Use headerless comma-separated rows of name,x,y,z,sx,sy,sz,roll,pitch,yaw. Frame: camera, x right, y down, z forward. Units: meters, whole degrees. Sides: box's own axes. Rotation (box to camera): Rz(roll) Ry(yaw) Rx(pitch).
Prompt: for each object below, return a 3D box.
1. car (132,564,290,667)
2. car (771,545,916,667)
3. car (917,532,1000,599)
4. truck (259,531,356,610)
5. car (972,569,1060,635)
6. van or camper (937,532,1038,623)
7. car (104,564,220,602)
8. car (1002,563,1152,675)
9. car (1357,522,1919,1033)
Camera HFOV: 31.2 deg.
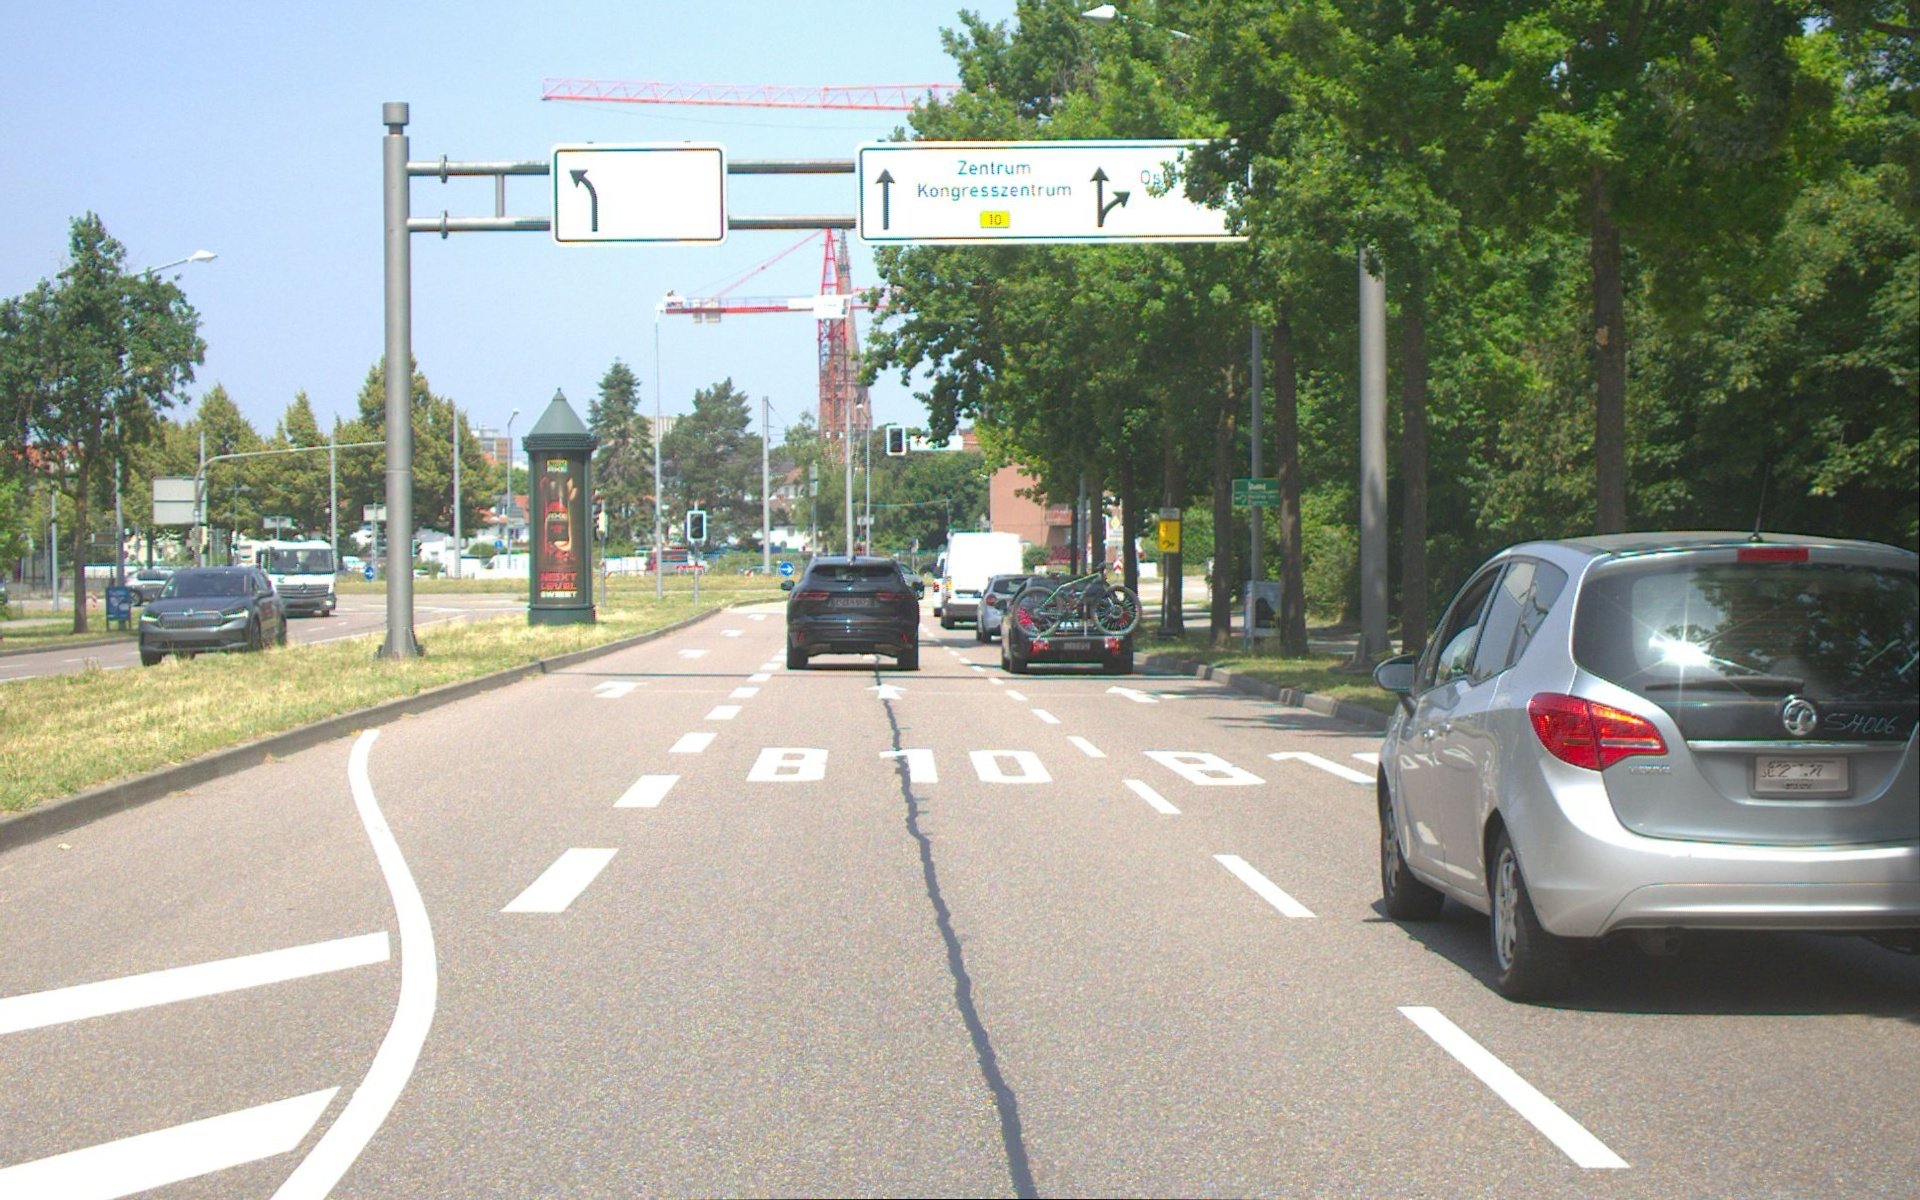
car,-12.428,0.231,57.286,1.892,1.605,4.535,0,1,-3
car,-1.684,0.052,50.821,1.998,1.683,4.034,1,1,0
car,-0.072,-1.072,105.583,1.993,2.007,4.001,-1,1,-8
truck,-22.053,-1.018,116.400,2.638,2.568,6.319,-1,1,-6
car,1.206,0.023,75.514,1.654,1.351,4.461,-1,1,-2
van or camper,0.679,-0.607,90.254,2.493,2.283,4.921,-1,1,-1
car,-30.740,-0.656,132.501,3.987,1.448,2.000,0,0,0
car,1.642,0.236,49.683,2.014,1.512,4.461,-1,1,0
car,2.627,0.524,12.833,1.792,1.606,3.891,1,1,0
